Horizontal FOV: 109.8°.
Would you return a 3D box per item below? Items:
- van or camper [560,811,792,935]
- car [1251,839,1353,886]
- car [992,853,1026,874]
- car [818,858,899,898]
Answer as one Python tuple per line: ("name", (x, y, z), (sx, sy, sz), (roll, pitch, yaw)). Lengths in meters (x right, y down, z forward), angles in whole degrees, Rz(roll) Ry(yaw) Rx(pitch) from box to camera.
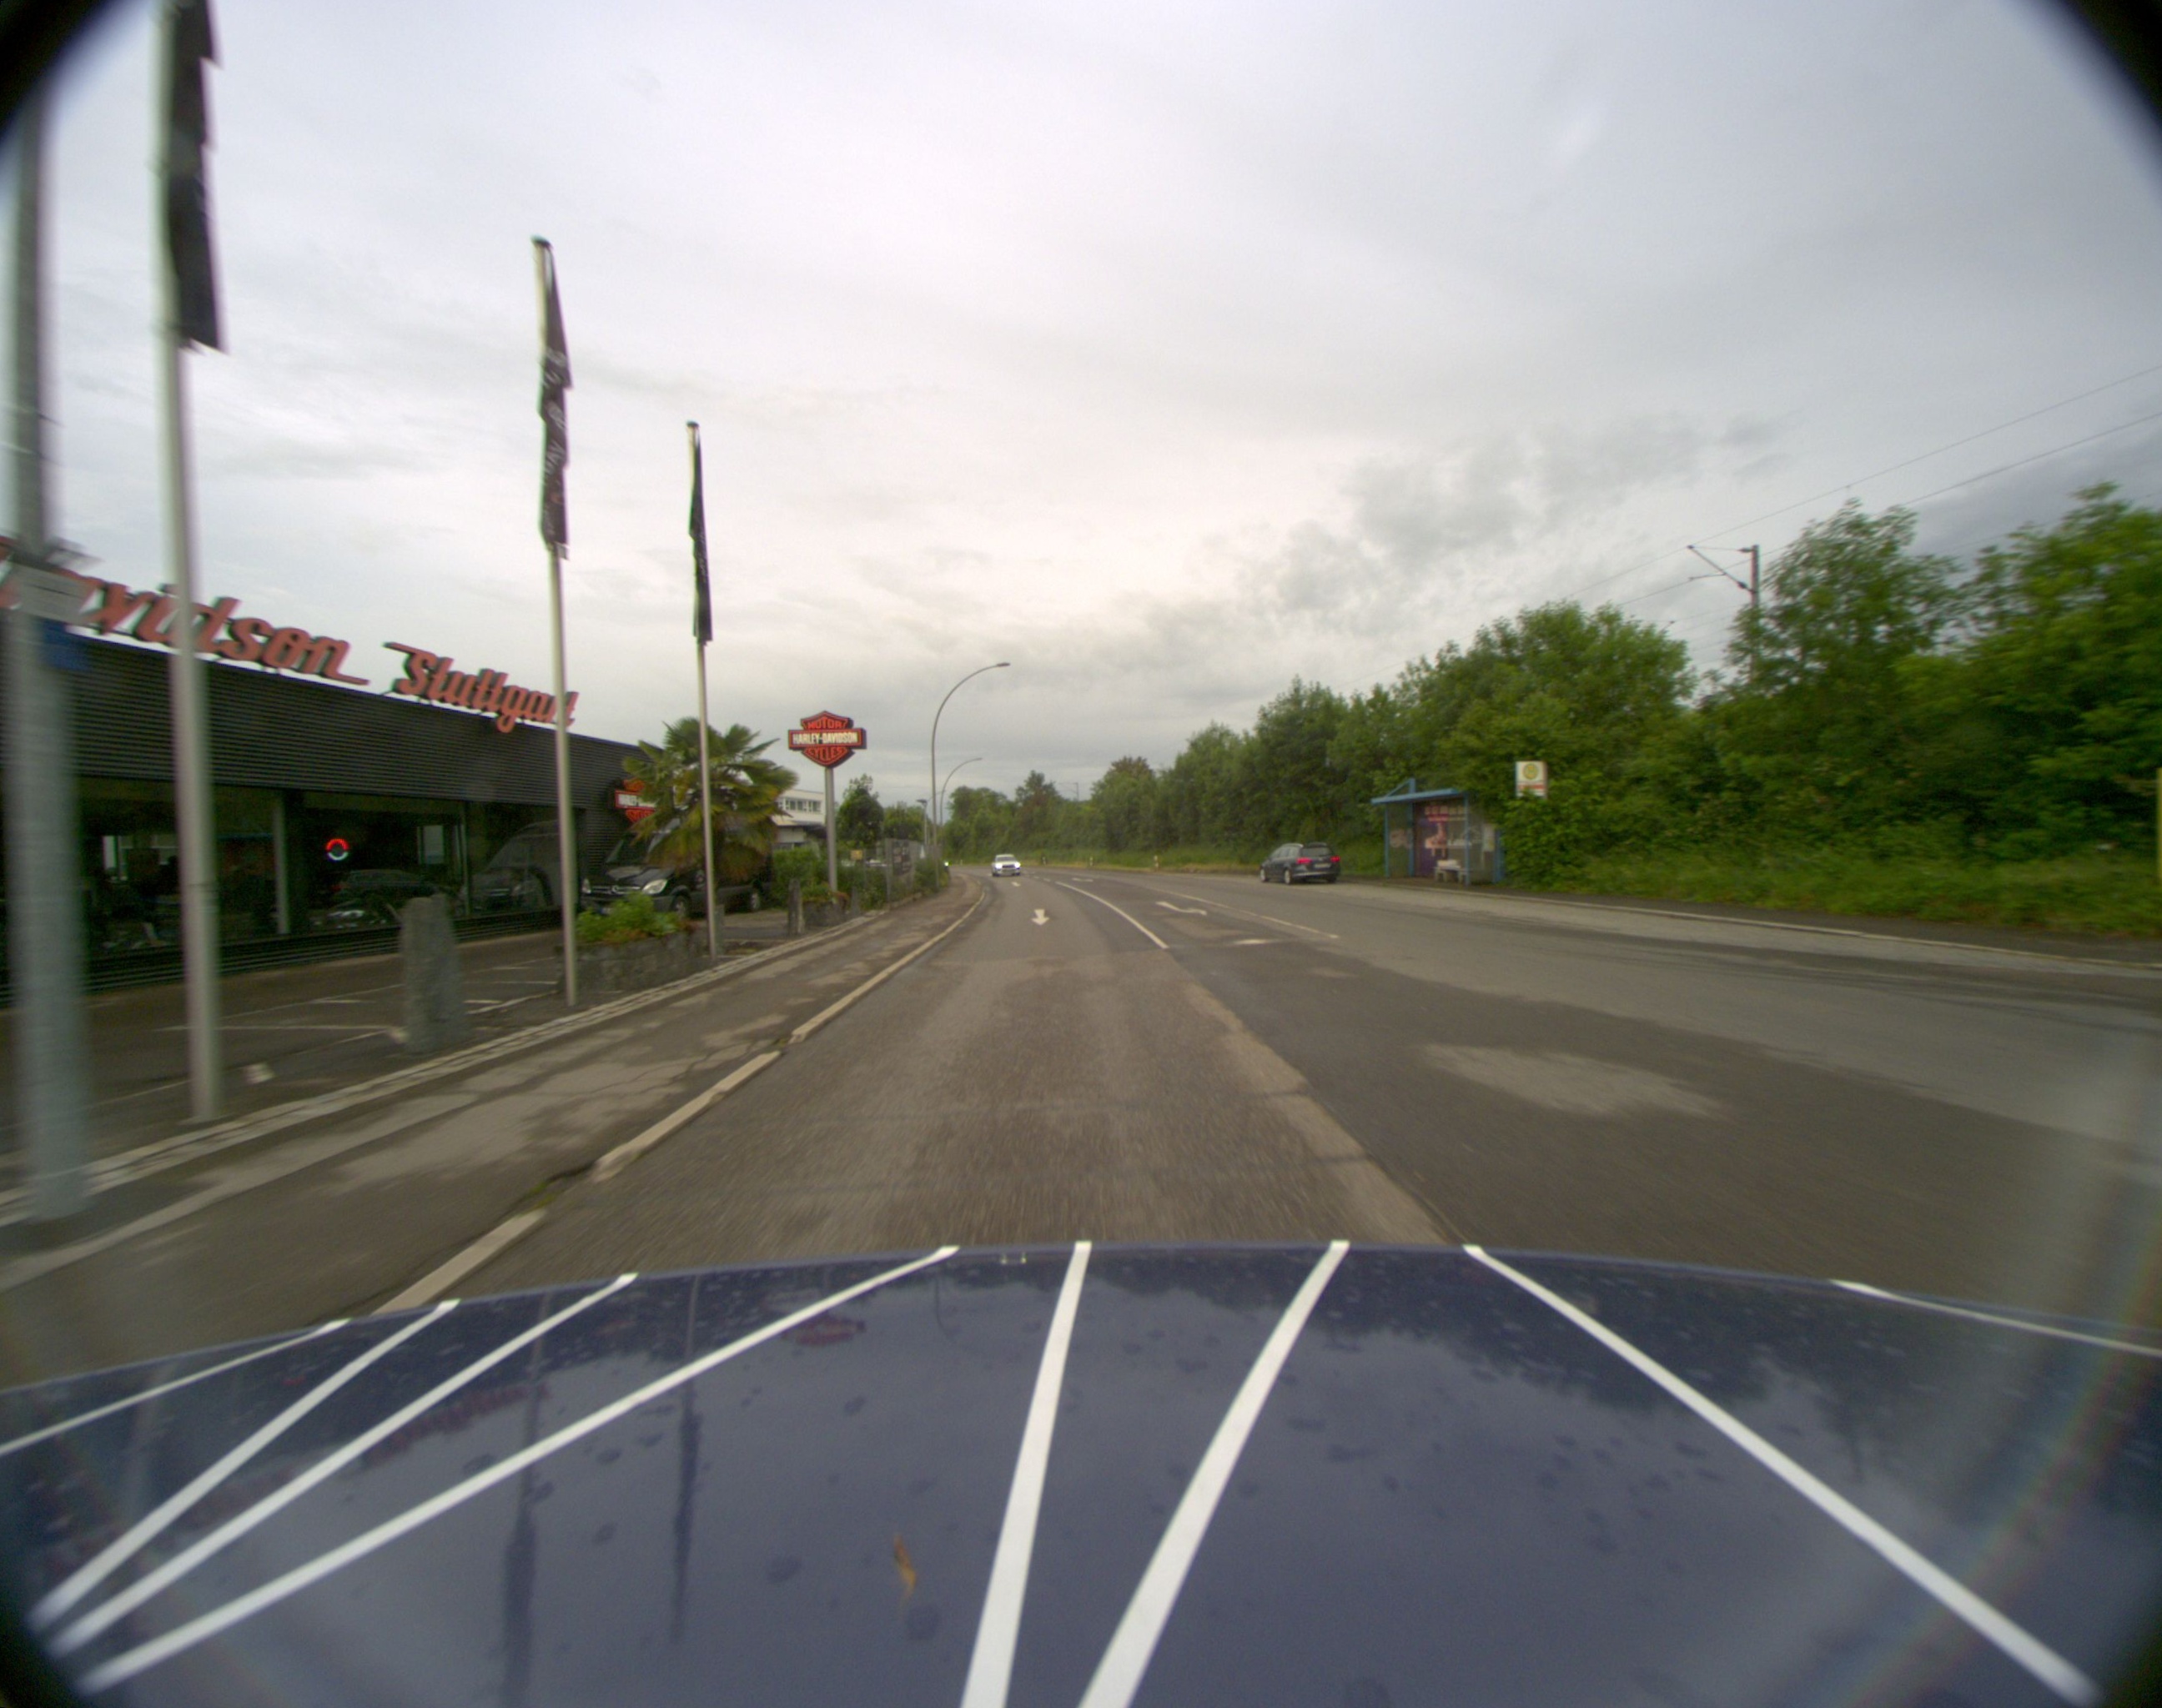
("van or camper", (-9.896, 0.383, 19.501), (2.046, 2.578, 6.590), (-2, 1, 3))
("car", (8.236, 0.273, 28.800), (1.999, 1.465, 4.697), (-5, 1, -6))
("car", (-5.669, 0.719, 59.278), (1.850, 1.565, 3.821), (-2, 0, -17))
("car", (-12.440, 1.316, 42.691), (3.998, 2.002, 1.710), (-2, 1, -4))
